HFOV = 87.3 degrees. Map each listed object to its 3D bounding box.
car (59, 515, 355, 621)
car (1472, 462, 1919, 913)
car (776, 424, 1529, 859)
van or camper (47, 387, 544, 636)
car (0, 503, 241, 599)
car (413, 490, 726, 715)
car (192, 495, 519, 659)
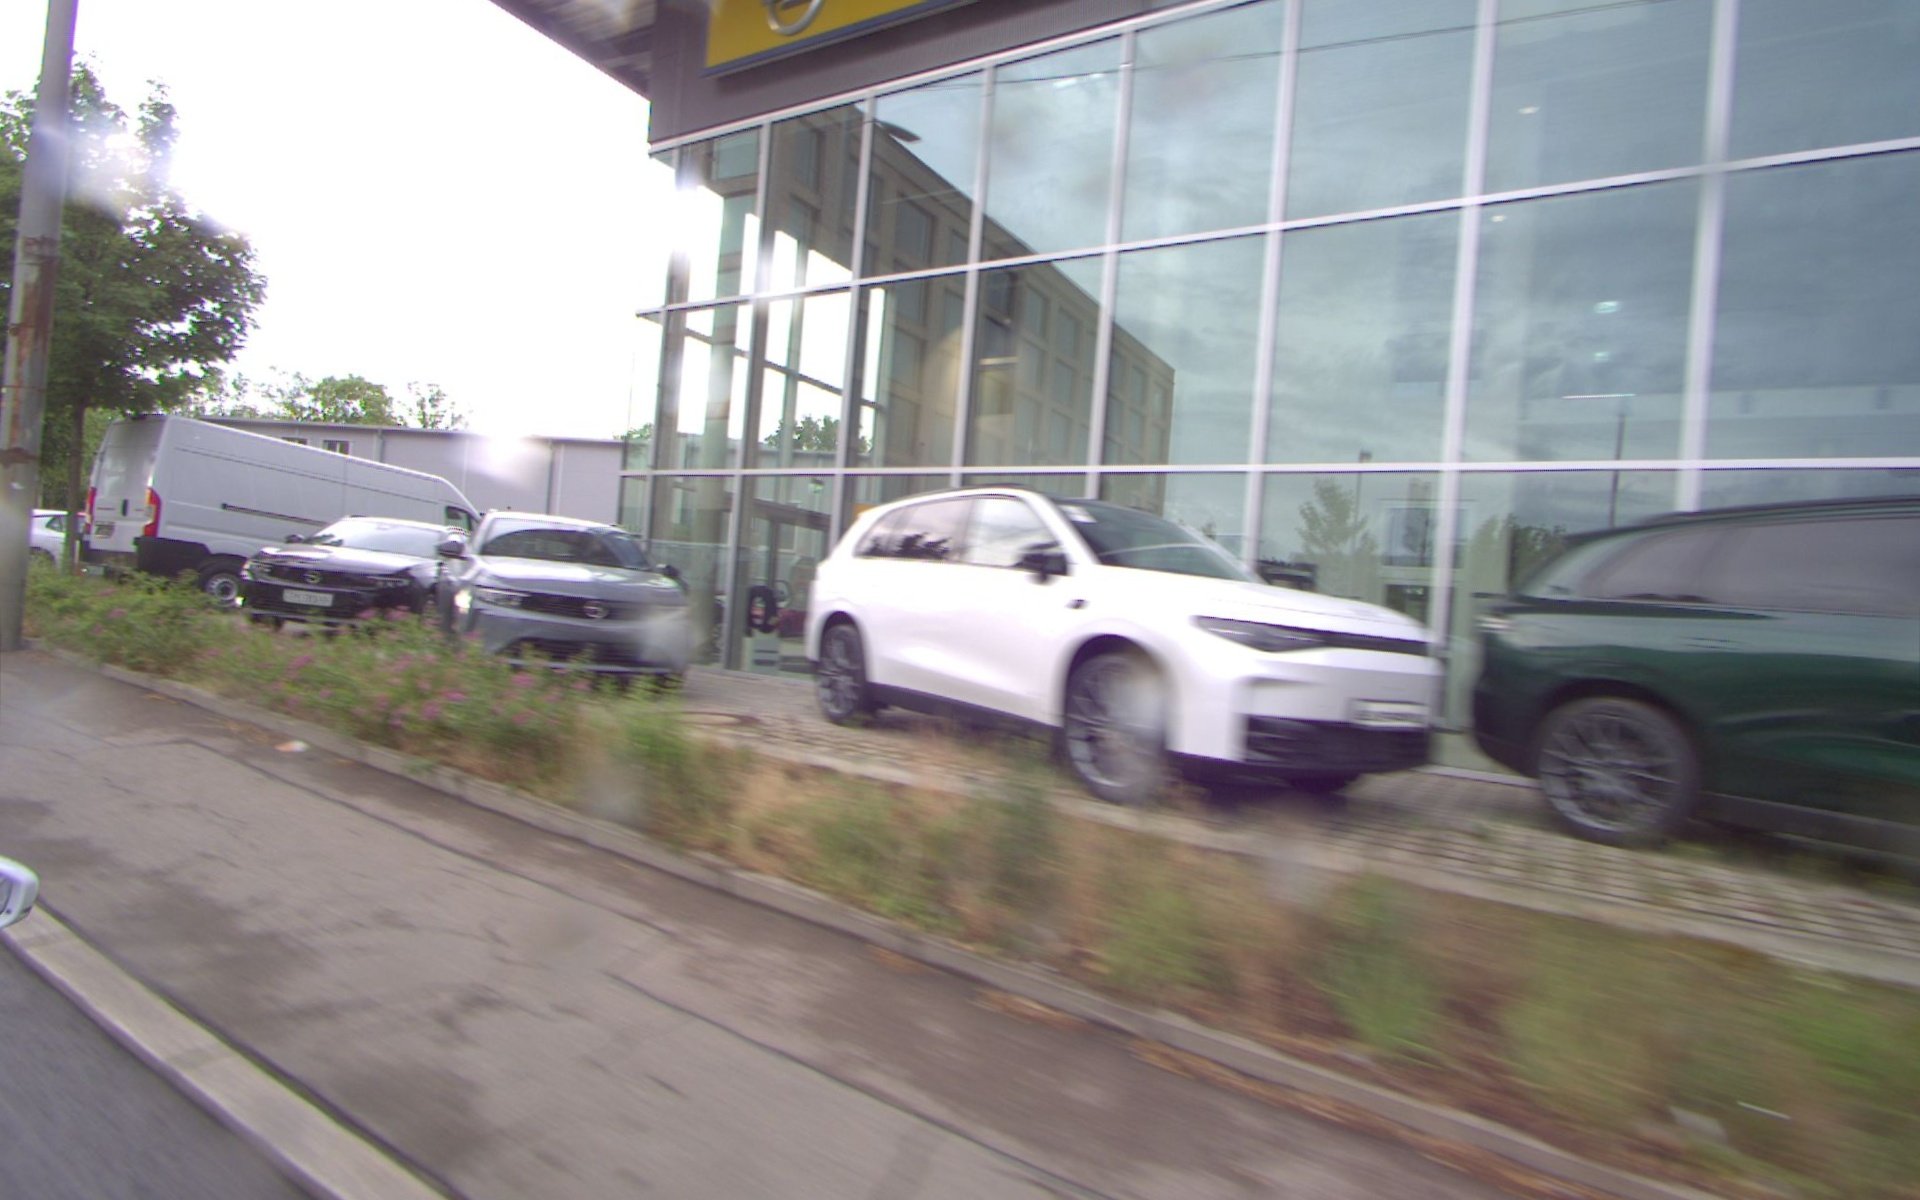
[{"bbox_3d":[-13.897,-0.534,18.811,1.719,1.447,3.994,4,-4,32],"label":"car"},{"bbox_3d":[4.777,0.428,4.011,1.978,1.732,4.392,5,0,-32],"label":"car"},{"bbox_3d":[0.745,0.134,6.438,1.980,1.732,4.535,5,0,-35],"label":"car"},{"bbox_3d":[-9.787,-1.117,15.512,2.313,2.756,5.747,7,-2,31],"label":"van or camper"},{"bbox_3d":[-17.570,-0.991,20.724,1.864,1.445,3.992,7,-1,32],"label":"car"},{"bbox_3d":[-3.785,-0.022,9.162,1.894,1.473,4.536,5,0,-30],"label":"car"},{"bbox_3d":[-7.002,-0.248,12.304,1.883,1.473,4.509,5,0,-11],"label":"car"}]
